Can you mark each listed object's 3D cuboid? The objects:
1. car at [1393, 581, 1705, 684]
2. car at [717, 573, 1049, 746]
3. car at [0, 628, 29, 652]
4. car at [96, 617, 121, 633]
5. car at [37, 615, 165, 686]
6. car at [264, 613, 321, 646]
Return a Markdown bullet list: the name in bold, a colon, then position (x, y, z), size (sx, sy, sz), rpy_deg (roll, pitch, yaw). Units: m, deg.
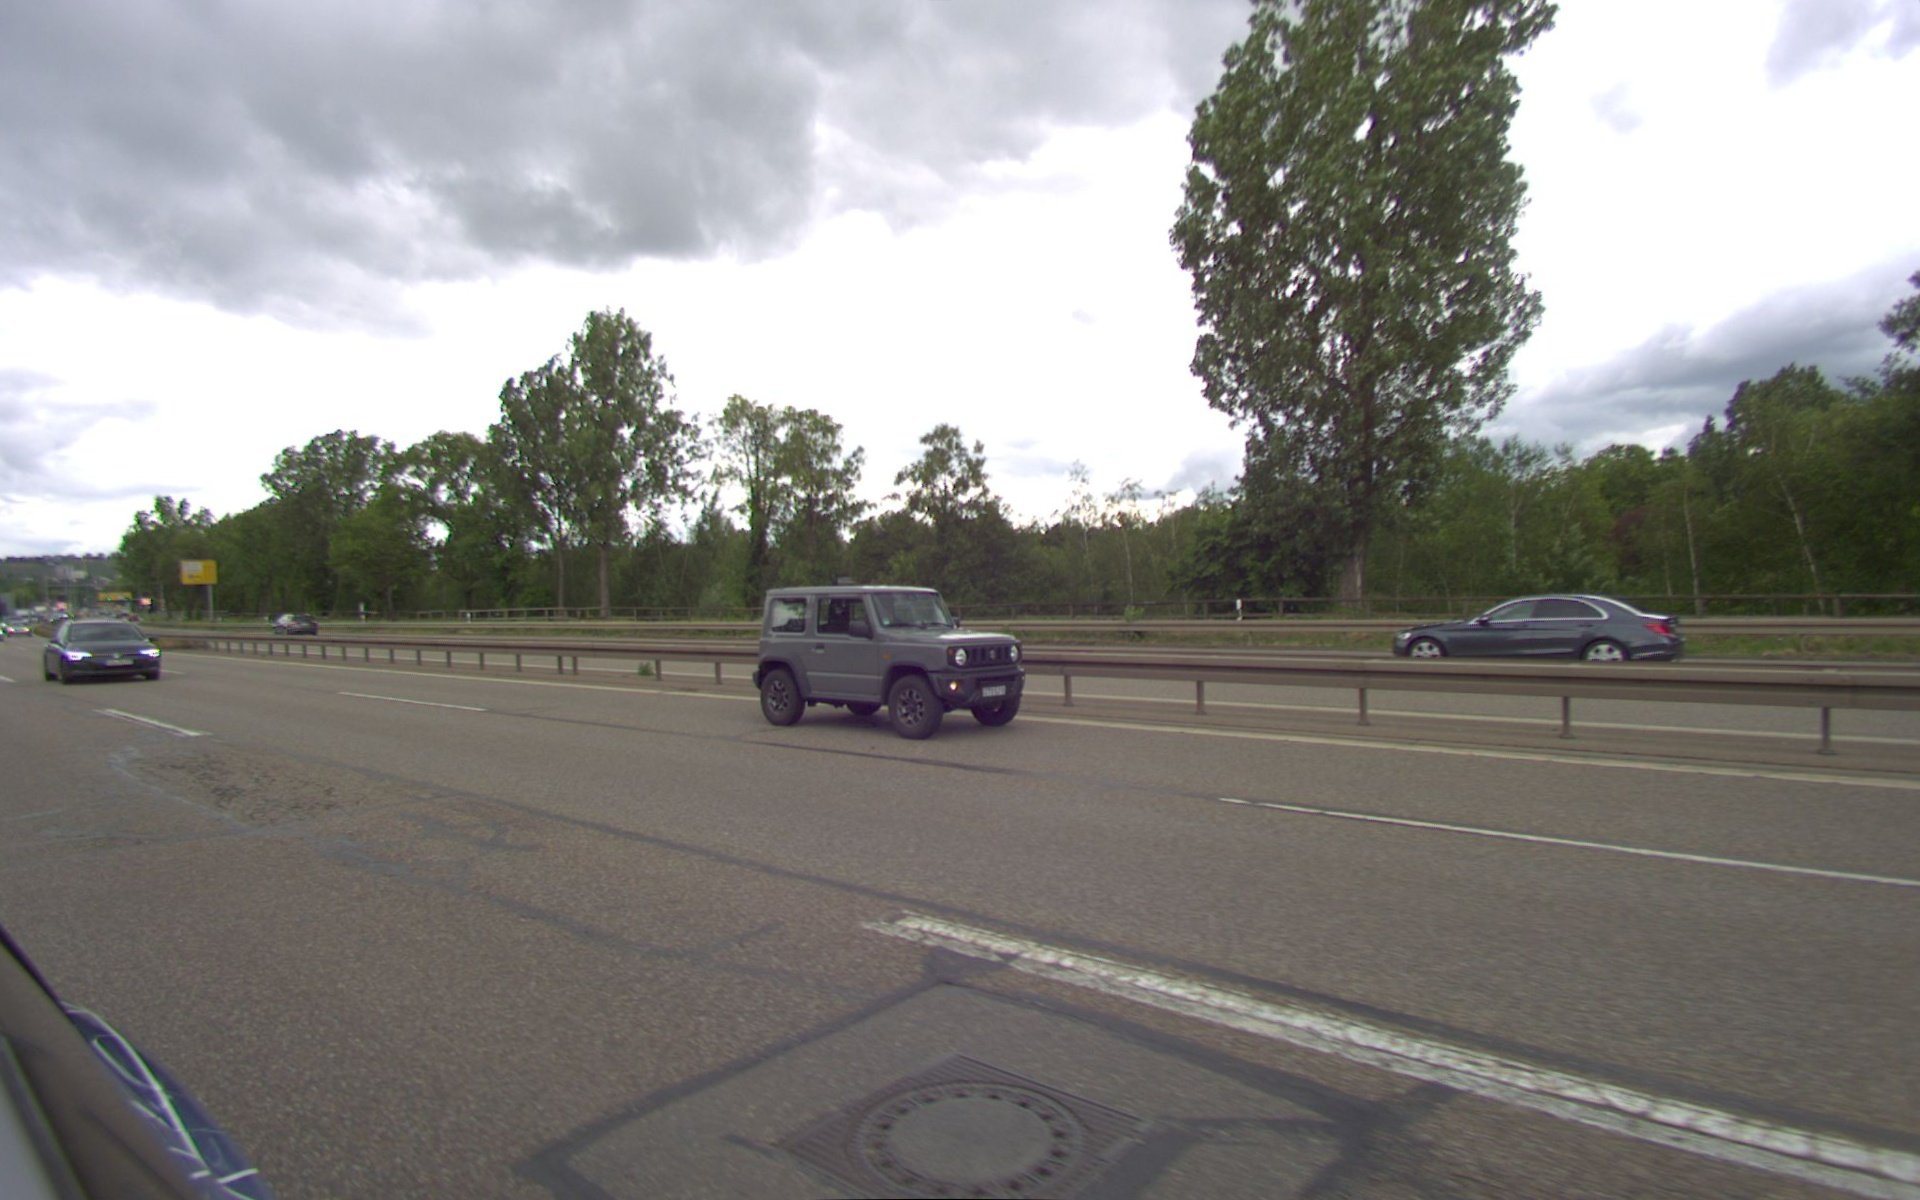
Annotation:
- **car**: position (10.535, 0.556, 18.258), size (4.643, 1.621, 1.975), rpy_deg (-2, 0, 38)
- **car**: position (-1.040, 0.628, 12.196), size (3.996, 1.749, 1.663), rpy_deg (-1, 0, 41)
- **car**: position (-87.570, 3.687, 93.544), size (4.001, 2.028, 1.972), rpy_deg (-2, 1, 44)
- **car**: position (-114.757, 3.374, 136.393), size (3.999, 2.029, 1.972), rpy_deg (-1, 0, 42)
- **car**: position (-20.603, 1.149, 24.213), size (4.305, 1.512, 1.914), rpy_deg (-2, -1, 44)
- **car**: position (-44.583, 1.946, 67.510), size (5.222, 2.028, 1.972), rpy_deg (-2, 1, 43)
